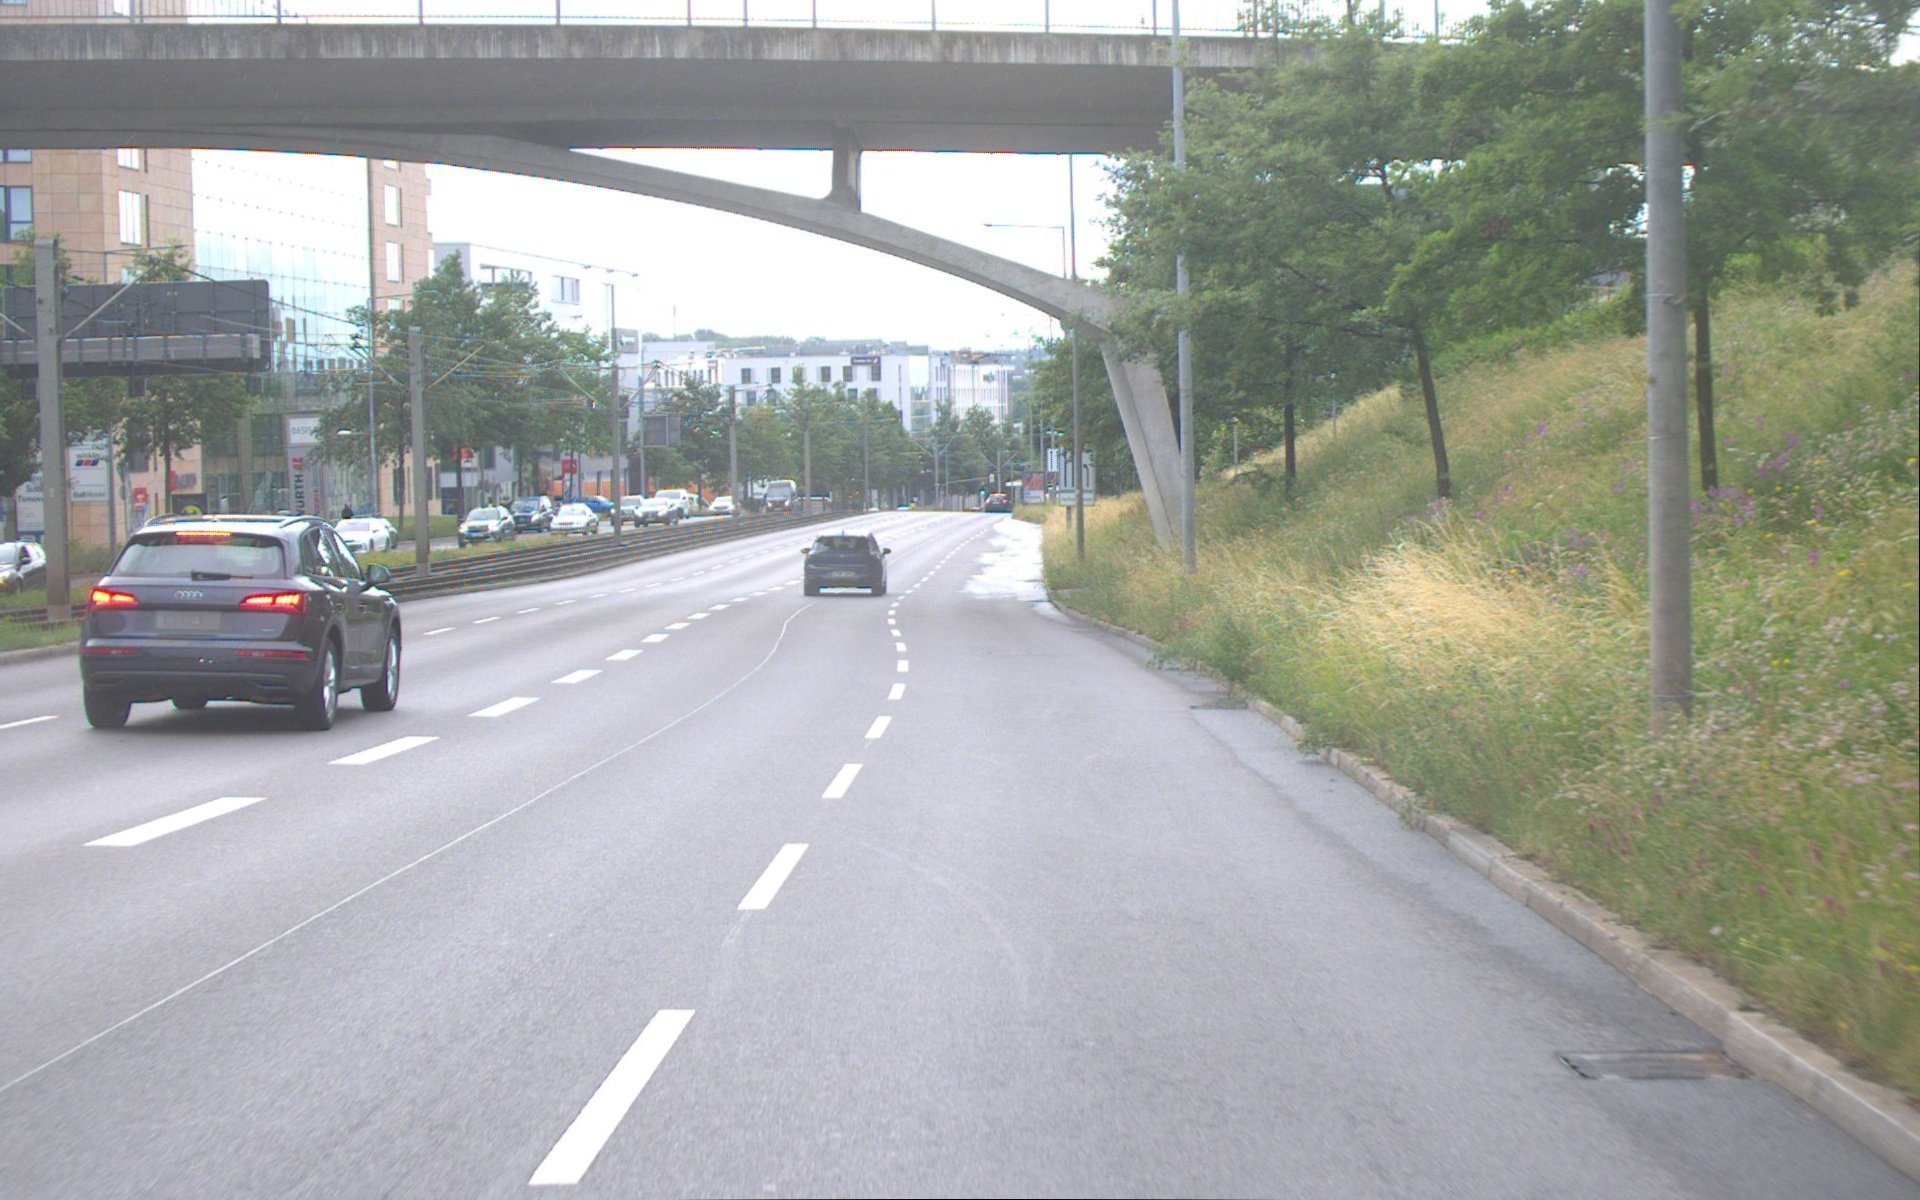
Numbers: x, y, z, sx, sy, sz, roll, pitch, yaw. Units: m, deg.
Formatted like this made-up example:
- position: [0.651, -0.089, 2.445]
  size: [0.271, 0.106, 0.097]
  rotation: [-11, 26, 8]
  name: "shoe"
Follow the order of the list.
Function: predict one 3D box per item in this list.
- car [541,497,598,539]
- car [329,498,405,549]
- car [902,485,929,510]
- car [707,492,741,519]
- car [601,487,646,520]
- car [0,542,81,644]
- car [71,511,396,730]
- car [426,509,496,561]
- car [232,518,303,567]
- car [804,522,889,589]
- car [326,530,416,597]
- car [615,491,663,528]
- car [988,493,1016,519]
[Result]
- position: [-18.176, -3.836, 160.117]
  size: [1.994, 1.729, 4.249]
  rotation: [1, 4, 2]
  name: "car"
- position: [-22.568, -2.927, 130.916]
  size: [1.994, 1.729, 4.249]
  rotation: [1, 4, 2]
  name: "car"
- position: [-3.367, -7.728, 259.009]
  size: [1.862, 1.743, 4.001]
  rotation: [1, 4, -3]
  name: "car"
- position: [-16.798, -6.757, 244.883]
  size: [1.994, 1.729, 4.249]
  rotation: [1, 4, 2]
  name: "car"
- position: [-19.284, -5.539, 197.190]
  size: [1.994, 1.729, 4.249]
  rotation: [1, 4, 2]
  name: "car"
- position: [-21.194, -0.191, 77.063]
  size: [1.993, 2.006, 4.001]
  rotation: [1, 4, 0]
  name: "car"
- position: [-5.776, 0.115, 27.856]
  size: [1.751, 1.612, 4.749]
  rotation: [0, 1, -2]
  name: "car"
- position: [-19.716, -2.577, 135.967]
  size: [1.994, 2.007, 4.000]
  rotation: [0, 1, 2]
  name: "car"
- position: [-28.796, -2.392, 142.958]
  size: [1.994, 2.007, 4.000]
  rotation: [0, 1, 2]
  name: "car"
- position: [-2.542, -1.025, 77.448]
  size: [1.749, 1.415, 3.478]
  rotation: [0, 2, 1]
  name: "car"
- position: [-17.088, -1.080, 99.939]
  size: [1.993, 1.700, 4.001]
  rotation: [1, 4, -1]
  name: "car"
- position: [-17.022, -4.817, 182.363]
  size: [1.994, 1.729, 4.249]
  rotation: [1, 4, 2]
  name: "car"
- position: [3.148, -7.135, 261.060]
  size: [1.862, 1.743, 4.001]
  rotation: [1, 4, -3]
  name: "car"
